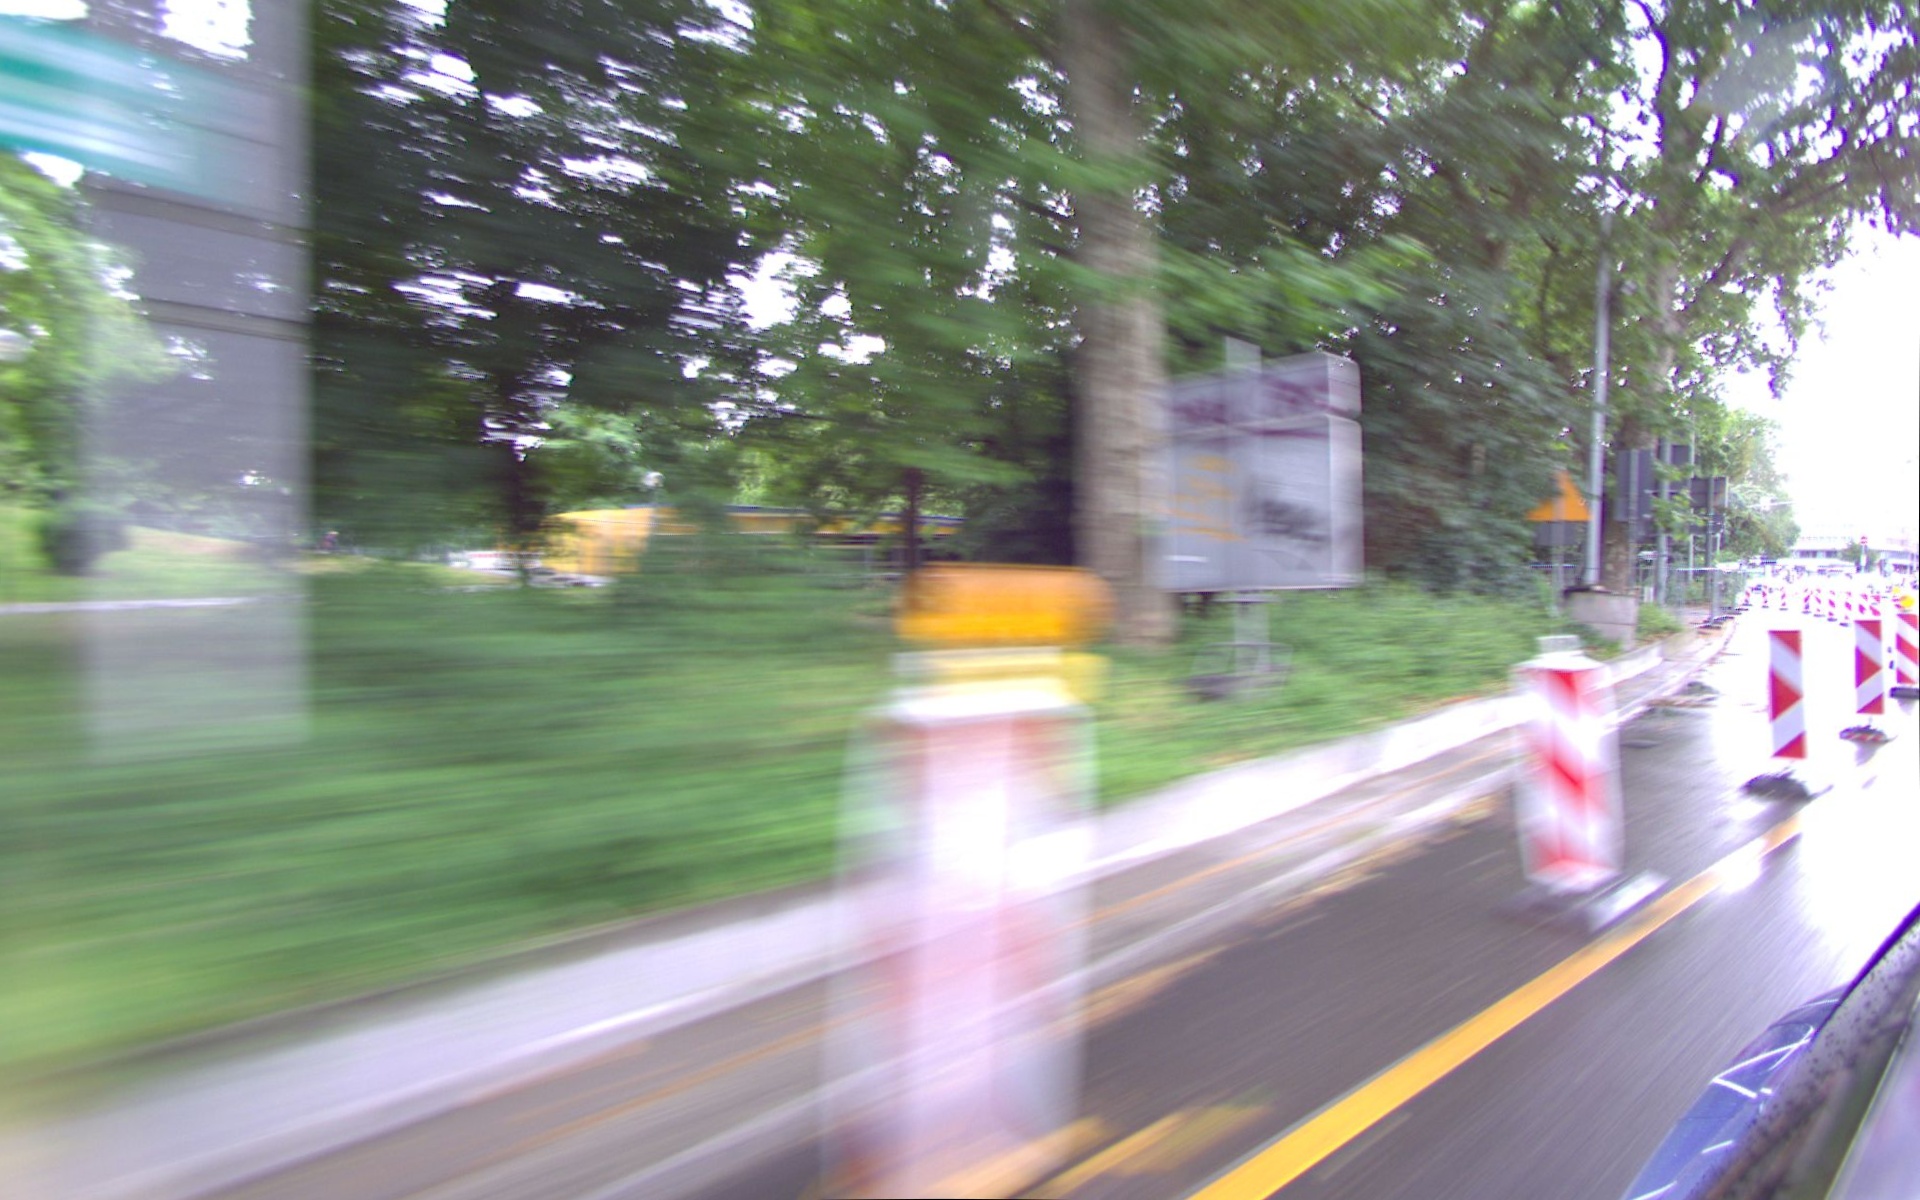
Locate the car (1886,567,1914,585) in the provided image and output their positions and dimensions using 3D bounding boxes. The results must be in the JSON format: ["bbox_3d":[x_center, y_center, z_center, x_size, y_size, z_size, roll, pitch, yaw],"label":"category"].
[{"bbox_3d":[104.116,-2.672,112.125,1.992,1.836,4.230,3,3,41],"label":"car"}]
